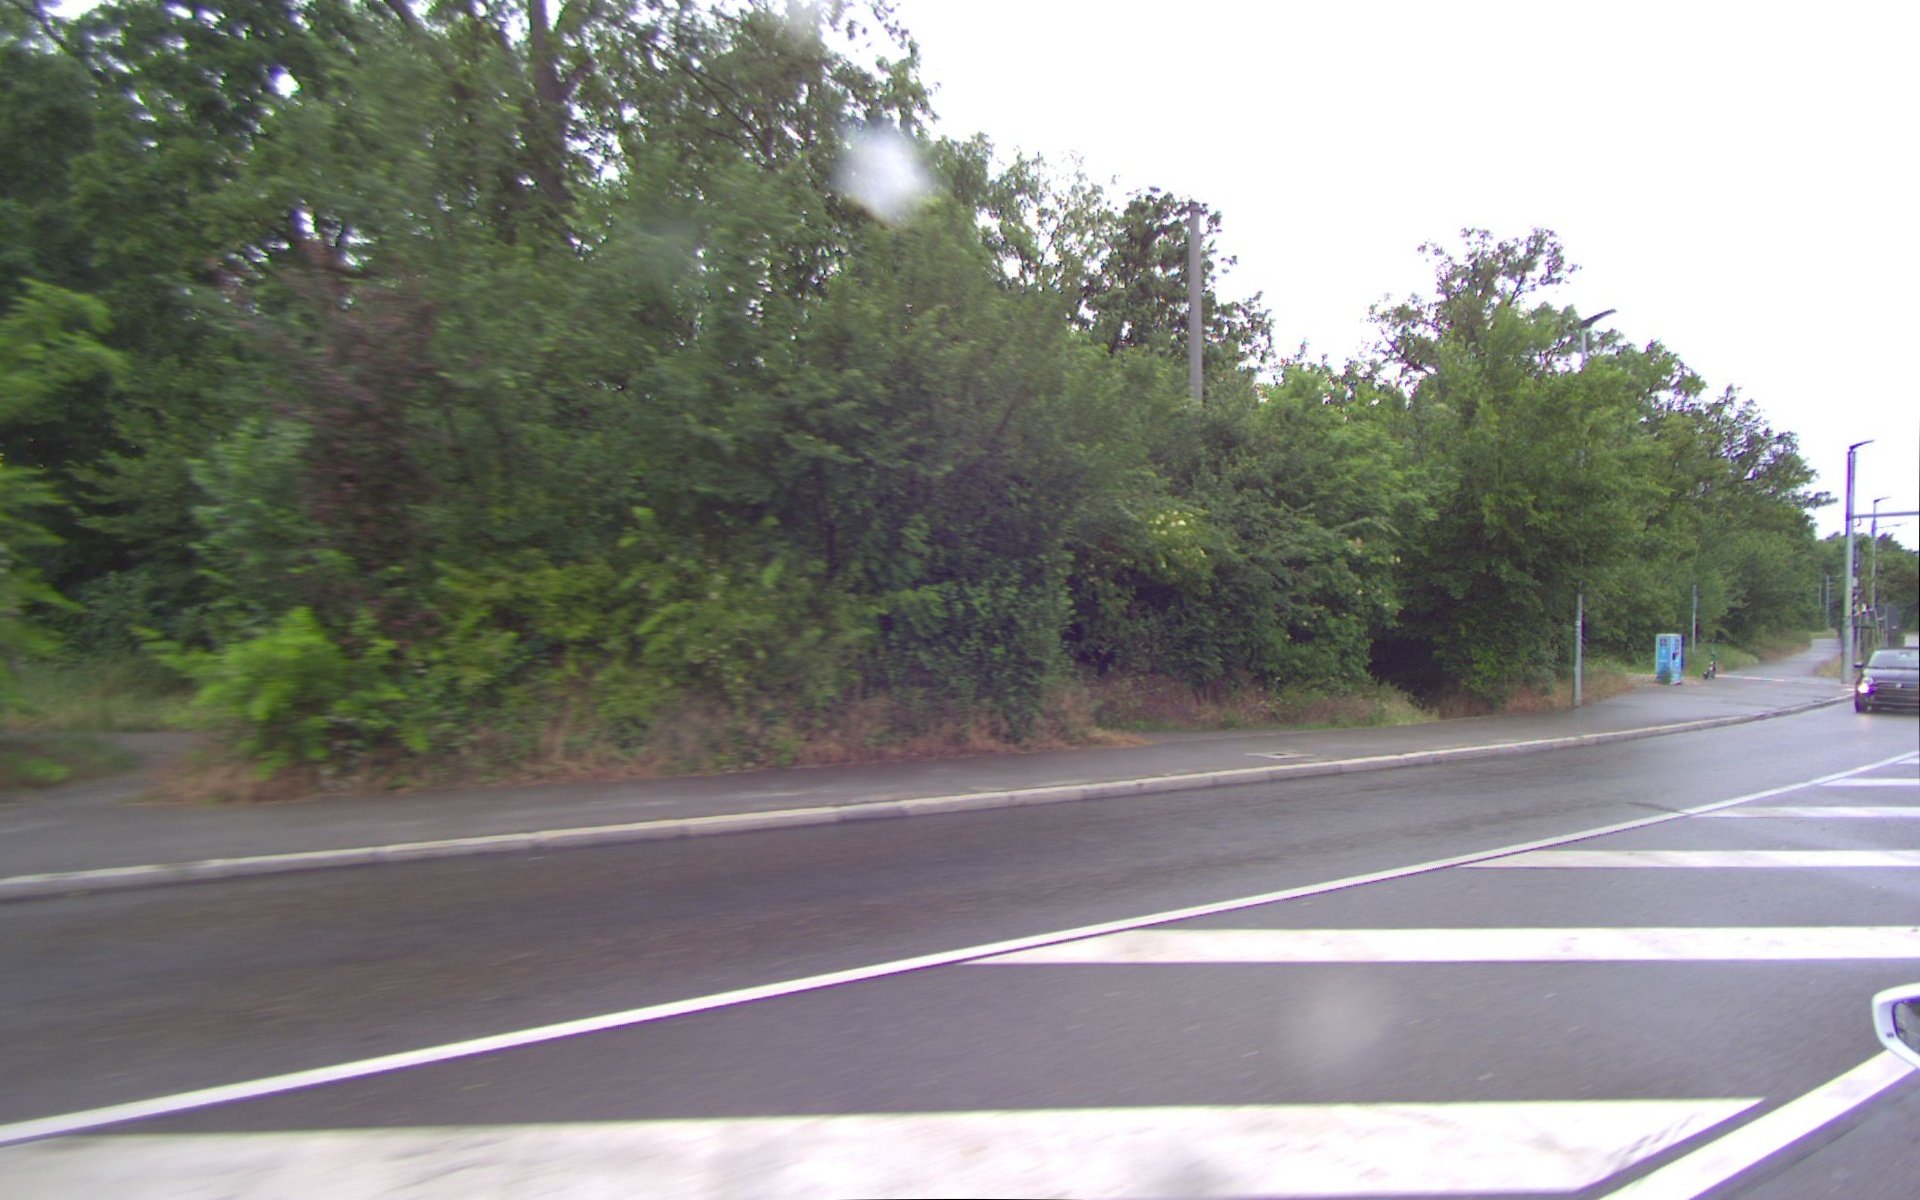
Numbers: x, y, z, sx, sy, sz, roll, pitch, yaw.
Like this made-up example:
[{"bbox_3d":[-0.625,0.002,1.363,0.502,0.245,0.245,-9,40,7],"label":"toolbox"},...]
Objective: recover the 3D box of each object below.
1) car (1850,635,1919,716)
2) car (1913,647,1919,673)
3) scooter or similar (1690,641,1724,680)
[{"bbox_3d":[22.212,1.731,23.633,3.748,1.753,1.561,2,-2,-43],"label":"car"},{"bbox_3d":[62.531,3.839,64.524,4.531,1.602,1.771,2,-2,-44],"label":"car"},{"bbox_3d":[24.342,1.956,32.718,1.456,1.228,0.513,2,-1,-38],"label":"scooter or similar"}]
